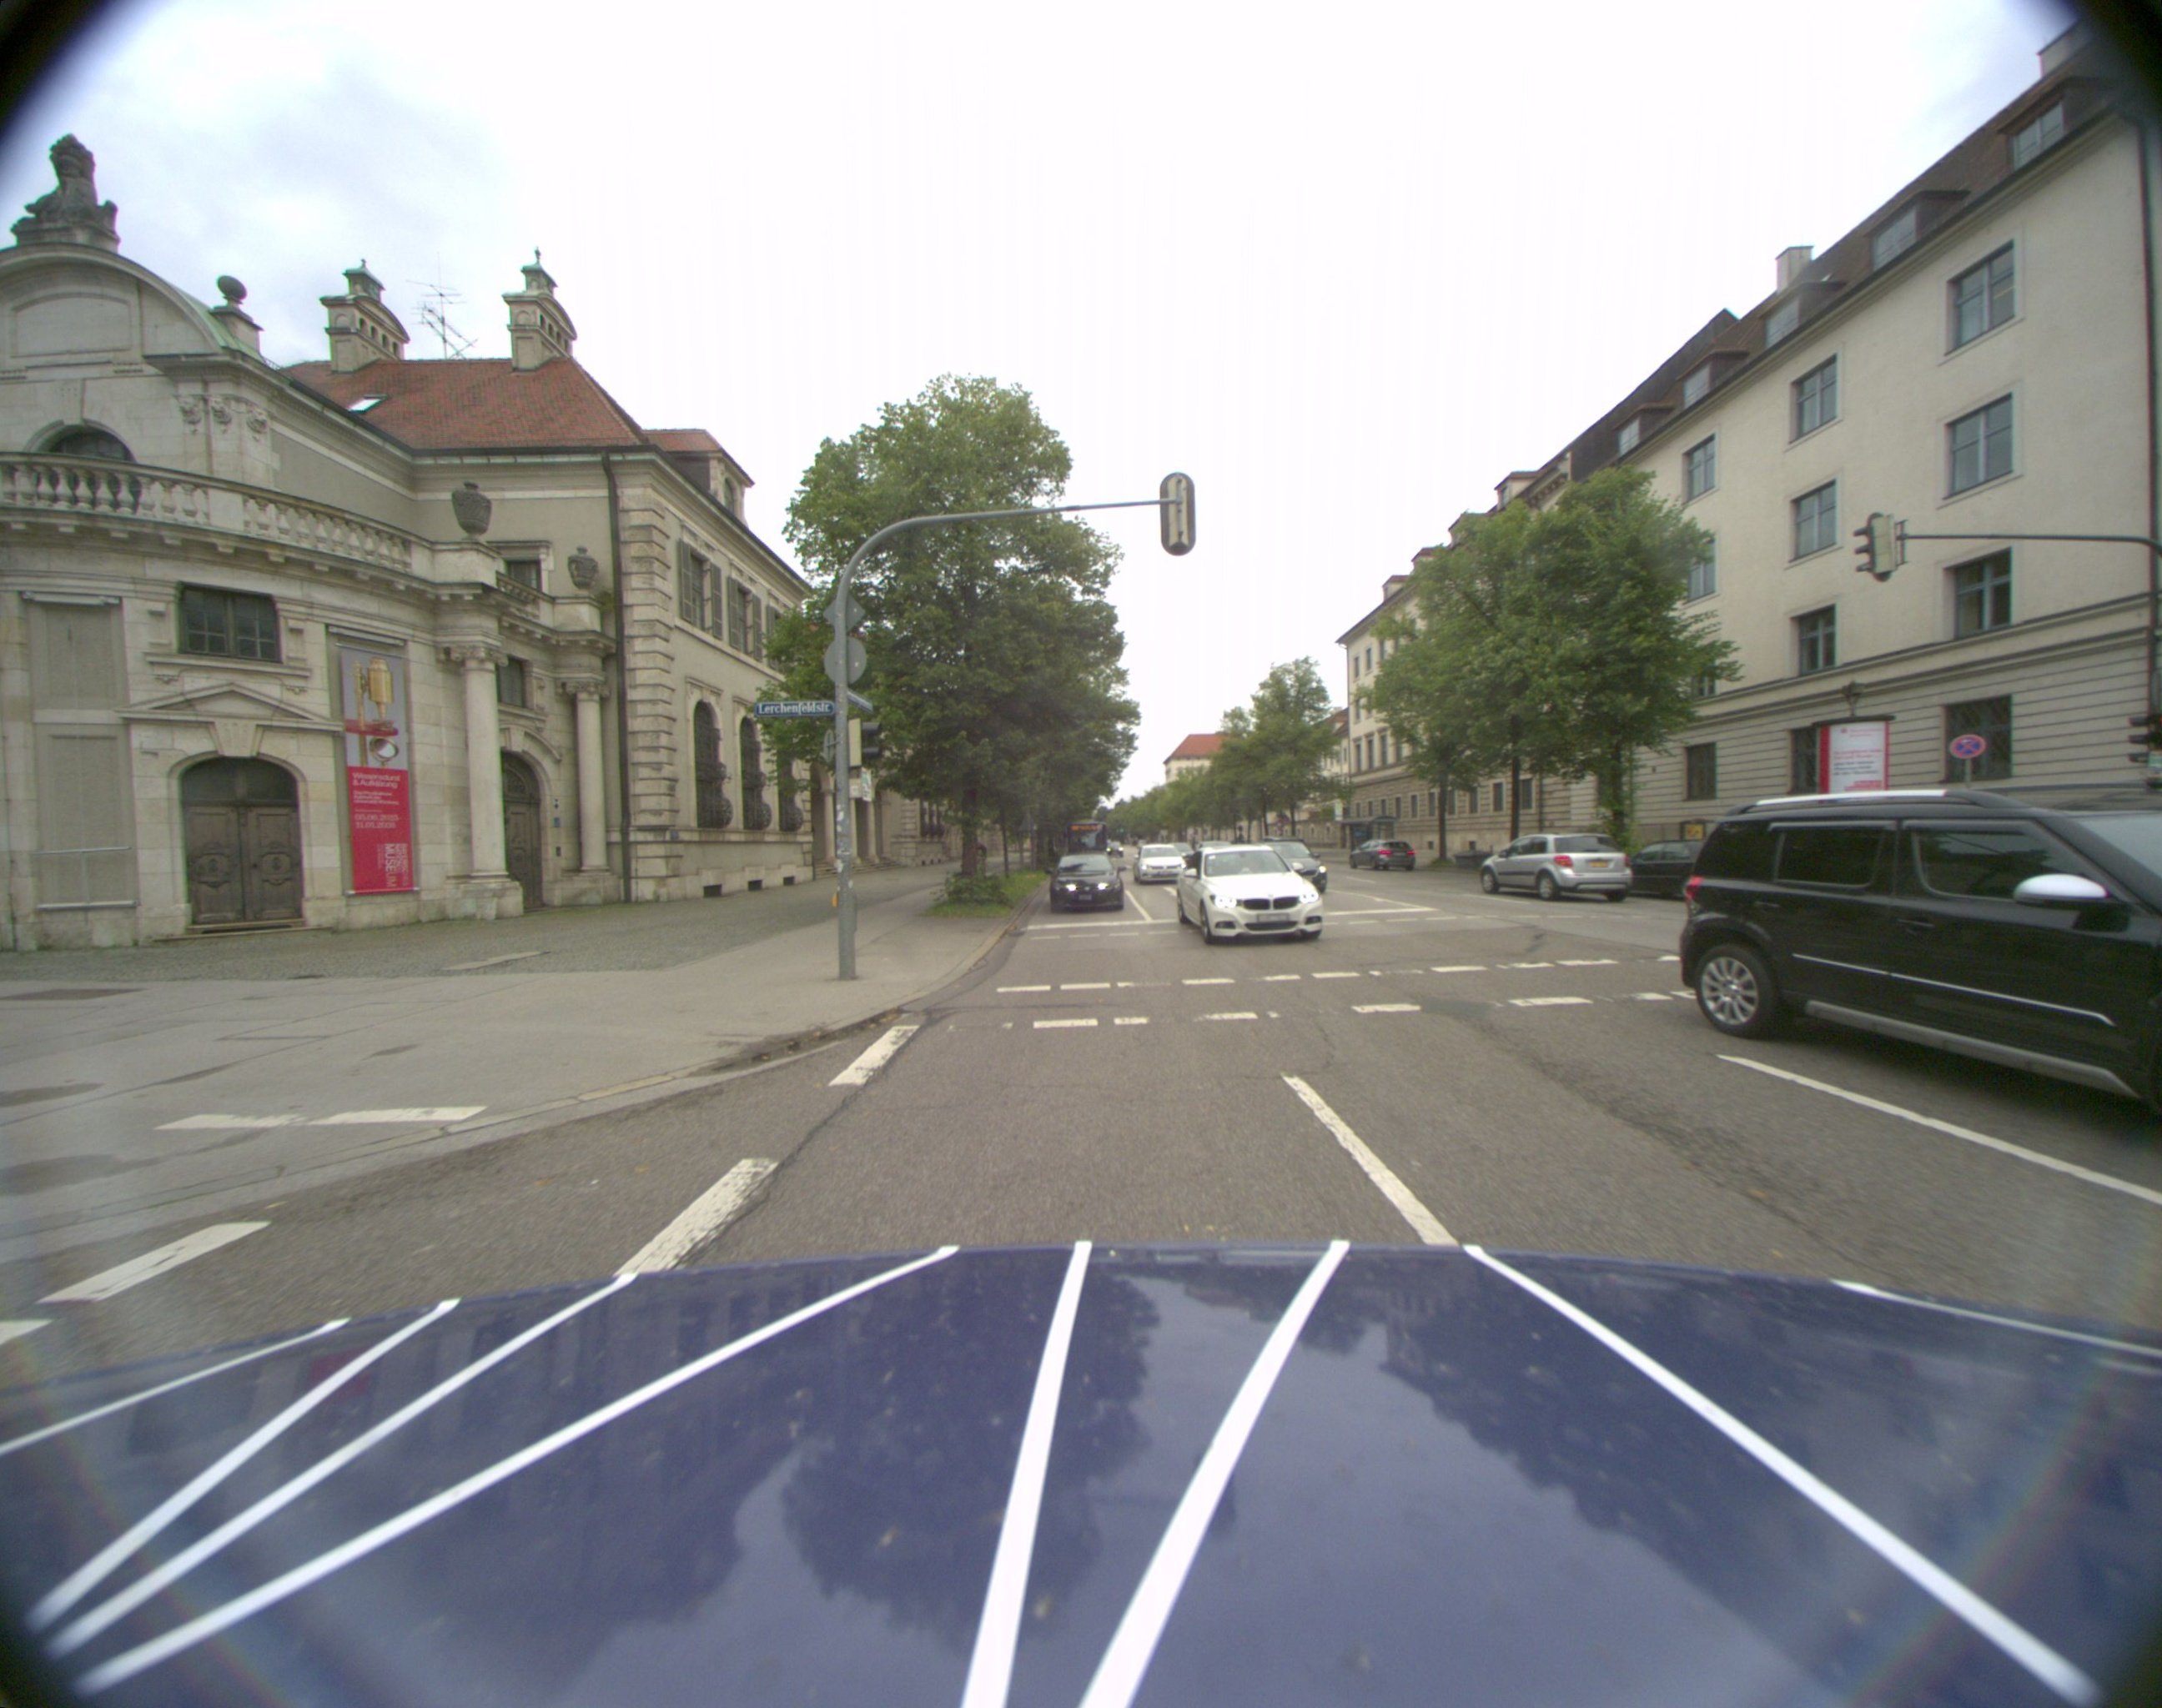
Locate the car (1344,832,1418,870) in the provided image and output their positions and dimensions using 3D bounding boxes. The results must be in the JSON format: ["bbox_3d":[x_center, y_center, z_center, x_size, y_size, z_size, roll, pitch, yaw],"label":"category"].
[{"bbox_3d":[13.981,-0.193,35.664,1.727,1.577,4.443,-2,2,0],"label":"car"}]

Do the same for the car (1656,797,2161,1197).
[{"bbox_3d":[5.251,0.539,3.702,1.727,1.627,4.203,-2,2,0],"label":"car"}]

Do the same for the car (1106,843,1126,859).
[{"bbox_3d":[3.512,-0.307,77.116,1.797,1.439,4.273,-2,2,0],"label":"car"}]

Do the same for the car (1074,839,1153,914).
[{"bbox_3d":[0.753,0.480,19.850,1.797,1.627,4.273,-2,2,0],"label":"car"}]

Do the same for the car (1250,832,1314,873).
[{"bbox_3d":[8.586,-0.111,32.815,1.727,1.577,4.373,-2,2,2],"label":"car"}]

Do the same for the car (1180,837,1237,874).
[{"bbox_3d":[5.608,0.025,33.907,1.797,1.439,4.273,-2,2,0],"label":"car"}]

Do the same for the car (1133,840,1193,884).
[{"bbox_3d":[3.045,0.231,28.909,1.797,1.439,4.273,-2,2,0],"label":"car"}]

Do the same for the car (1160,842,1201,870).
[{"bbox_3d":[5.673,0.074,43.773,1.797,1.439,4.273,-2,2,0],"label":"car"}]

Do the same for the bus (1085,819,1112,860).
[{"bbox_3d":[1.165,-0.976,51.444,1.638,2.571,6.700,-2,1,1],"label":"bus"}]

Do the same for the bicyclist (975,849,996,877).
[{"bbox_3d":[-4.675,0.418,37.268,0.808,1.306,0.893,-3,2,1],"label":"bicyclist"}]

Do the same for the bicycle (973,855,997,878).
[{"bbox_3d":[-4.696,0.597,37.225,0.830,1.001,2.057,-3,2,1],"label":"bicycle"}]

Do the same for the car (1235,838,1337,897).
[{"bbox_3d":[5.812,0.299,22.053,1.797,1.439,4.273,-2,2,0],"label":"car"}]

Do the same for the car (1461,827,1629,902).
[{"bbox_3d":[11.270,0.185,18.836,1.683,1.631,4.164,-2,1,1],"label":"car"}]

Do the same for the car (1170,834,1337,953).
[{"bbox_3d":[2.791,0.508,13.506,1.797,1.627,5.024,-2,2,0],"label":"car"}]
